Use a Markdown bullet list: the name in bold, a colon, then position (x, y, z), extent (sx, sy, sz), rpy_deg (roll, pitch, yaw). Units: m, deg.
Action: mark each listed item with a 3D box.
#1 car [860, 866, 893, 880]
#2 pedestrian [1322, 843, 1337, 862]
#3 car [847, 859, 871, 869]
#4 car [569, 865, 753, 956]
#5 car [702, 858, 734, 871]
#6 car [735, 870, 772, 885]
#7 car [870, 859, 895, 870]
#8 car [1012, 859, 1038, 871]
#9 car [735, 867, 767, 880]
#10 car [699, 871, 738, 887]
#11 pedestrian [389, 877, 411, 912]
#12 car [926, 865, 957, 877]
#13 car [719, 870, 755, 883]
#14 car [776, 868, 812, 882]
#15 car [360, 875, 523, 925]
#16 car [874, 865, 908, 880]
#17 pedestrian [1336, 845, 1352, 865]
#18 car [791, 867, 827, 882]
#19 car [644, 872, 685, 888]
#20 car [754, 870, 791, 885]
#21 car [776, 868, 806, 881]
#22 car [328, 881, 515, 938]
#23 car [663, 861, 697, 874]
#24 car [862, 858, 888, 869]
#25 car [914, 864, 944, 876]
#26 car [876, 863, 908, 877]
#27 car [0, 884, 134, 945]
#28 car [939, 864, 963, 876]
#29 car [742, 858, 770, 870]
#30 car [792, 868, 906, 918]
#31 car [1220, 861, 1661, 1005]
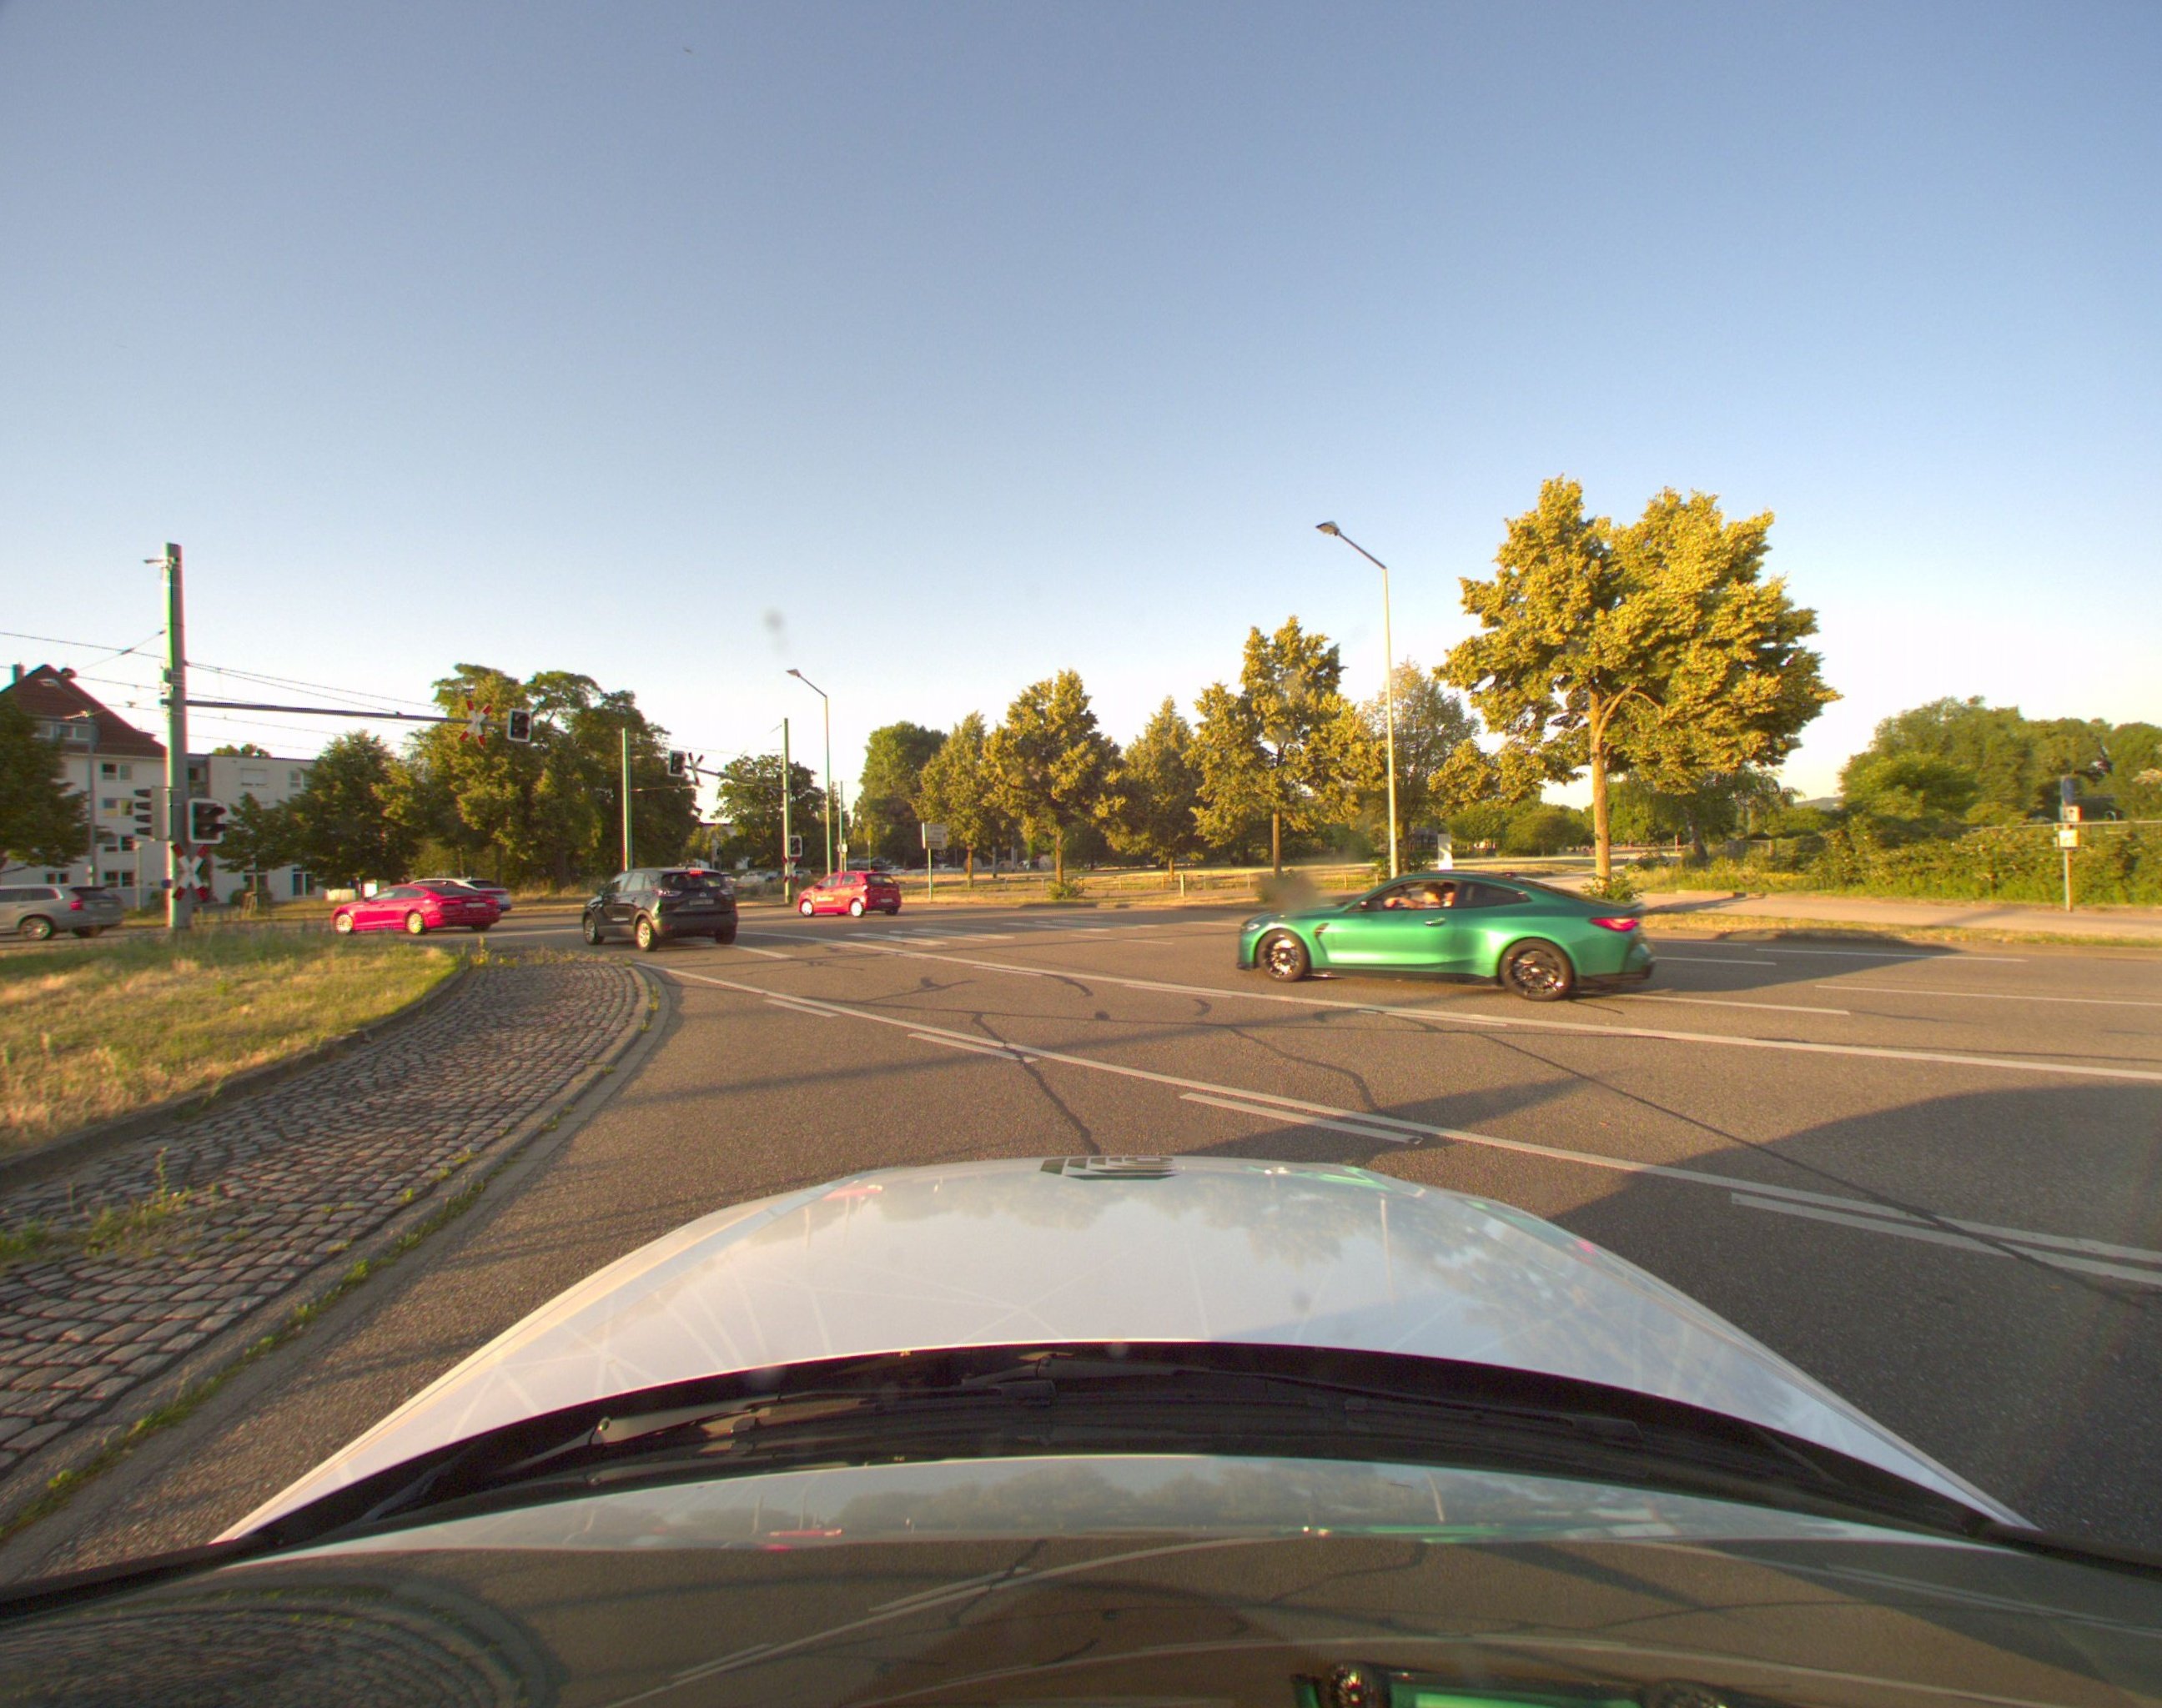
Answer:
- **car**: position (-26.656, 2.479, 105.998), extent (3.948, 1.604, 2.013), rpy_deg (-2, 0, 34)
- **pedestrian**: position (21.160, -0.147, 69.399), extent (1.064, 1.617, 0.911), rpy_deg (-2, 0, 4)
- **car**: position (-41.729, 1.880, 153.034), extent (1.974, 1.816, 4.026), rpy_deg (-2, 0, 37)
- **car**: position (-8.626, 1.066, 16.616), extent (3.948, 1.584, 1.908), rpy_deg (-2, 0, 40)
- **car**: position (-61.907, 1.783, 139.077), extent (1.974, 2.013, 4.628), rpy_deg (-2, 0, 36)
- **car**: position (-37.038, 2.703, 92.073), extent (3.948, 1.604, 2.013), rpy_deg (-2, 0, 34)
- **car**: position (-35.664, 1.881, 146.449), extent (3.964, 1.706, 2.005), rpy_deg (-2, 0, 8)
- **car**: position (-7.939, 1.518, 115.272), extent (1.748, 1.618, 3.954), rpy_deg (-1, 0, -39)
- **car**: position (-46.213, 2.779, 113.957), extent (4.005, 1.662, 1.984), rpy_deg (-2, 0, -24)
- **car**: position (-39.008, 2.681, 87.554), extent (3.948, 1.604, 2.013), rpy_deg (-2, 0, 34)
- **pedestrian**: position (-37.151, 2.190, 44.434), extent (0.666, 1.893, 0.619), rpy_deg (0, -1, -4)
- **car**: position (-19.976, 2.367, 116.492), extent (3.948, 1.604, 2.013), rpy_deg (-2, 0, 34)
- **car**: position (-46.099, 3.010, 109.157), extent (1.878, 1.662, 4.026), rpy_deg (-2, 0, 37)
- **car**: position (-33.686, 2.445, 95.442), extent (3.948, 1.604, 2.013), rpy_deg (-2, 0, 34)
- **car**: position (-24.849, 1.779, 31.772), extent (4.685, 1.706, 2.000), rpy_deg (-2, 0, 0)
- **car**: position (-27.635, 2.678, 118.523), extent (4.578, 2.013, 1.995), rpy_deg (-2, 0, -7)
- **pedestrian**: position (22.385, 0.095, 69.280), extent (1.064, 1.617, 0.911), rpy_deg (-2, 0, 4)
- **car**: position (-32.621, 2.455, 97.622), extent (3.948, 1.604, 2.013), rpy_deg (-2, 0, 34)
- **car**: position (-42.640, 2.673, 83.337), extent (3.948, 1.604, 2.013), rpy_deg (-2, 0, 34)
- **car**: position (-35.494, 2.705, 93.683), extent (3.948, 1.604, 2.013), rpy_deg (-2, 0, 34)
- **car**: position (-41.284, 2.878, 116.008), extent (4.001, 1.662, 1.889), rpy_deg (-2, 0, -20)
- **car**: position (-18.219, 1.503, 22.519), extent (4.445, 1.392, 1.905), rpy_deg (-2, 0, 19)
- **car**: position (-65.646, 2.228, 133.339), extent (1.974, 2.013, 4.627), rpy_deg (-2, 0, 32)
- **car**: position (-37.940, 1.771, 150.055), extent (1.975, 2.013, 4.025), rpy_deg (-2, 0, 42)
- **car**: position (-21.452, 2.310, 114.797), extent (3.948, 1.604, 2.013), rpy_deg (-2, 0, 34)
- **car**: position (-29.361, 2.409, 126.711), extent (4.578, 2.013, 1.995), rpy_deg (-2, 0, -7)
- **car**: position (-33.668, 1.935, 25.697), extent (4.622, 1.736, 1.886), rpy_deg (-2, 0, -15)
- **car**: position (-20.823, 2.522, 129.999), extent (2.008, 1.752, 4.549), rpy_deg (-1, 1, -35)
- **car**: position (-57.819, 1.798, 144.948), extent (1.974, 2.013, 4.143), rpy_deg (-2, 0, 36)
- **car**: position (-7.629, 1.247, 26.770), extent (3.445, 1.500, 1.653), rpy_deg (-2, 0, 31)
- **car**: position (4.335, 0.843, 10.186), extent (4.673, 1.371, 2.013), rpy_deg (-2, 0, 34)
